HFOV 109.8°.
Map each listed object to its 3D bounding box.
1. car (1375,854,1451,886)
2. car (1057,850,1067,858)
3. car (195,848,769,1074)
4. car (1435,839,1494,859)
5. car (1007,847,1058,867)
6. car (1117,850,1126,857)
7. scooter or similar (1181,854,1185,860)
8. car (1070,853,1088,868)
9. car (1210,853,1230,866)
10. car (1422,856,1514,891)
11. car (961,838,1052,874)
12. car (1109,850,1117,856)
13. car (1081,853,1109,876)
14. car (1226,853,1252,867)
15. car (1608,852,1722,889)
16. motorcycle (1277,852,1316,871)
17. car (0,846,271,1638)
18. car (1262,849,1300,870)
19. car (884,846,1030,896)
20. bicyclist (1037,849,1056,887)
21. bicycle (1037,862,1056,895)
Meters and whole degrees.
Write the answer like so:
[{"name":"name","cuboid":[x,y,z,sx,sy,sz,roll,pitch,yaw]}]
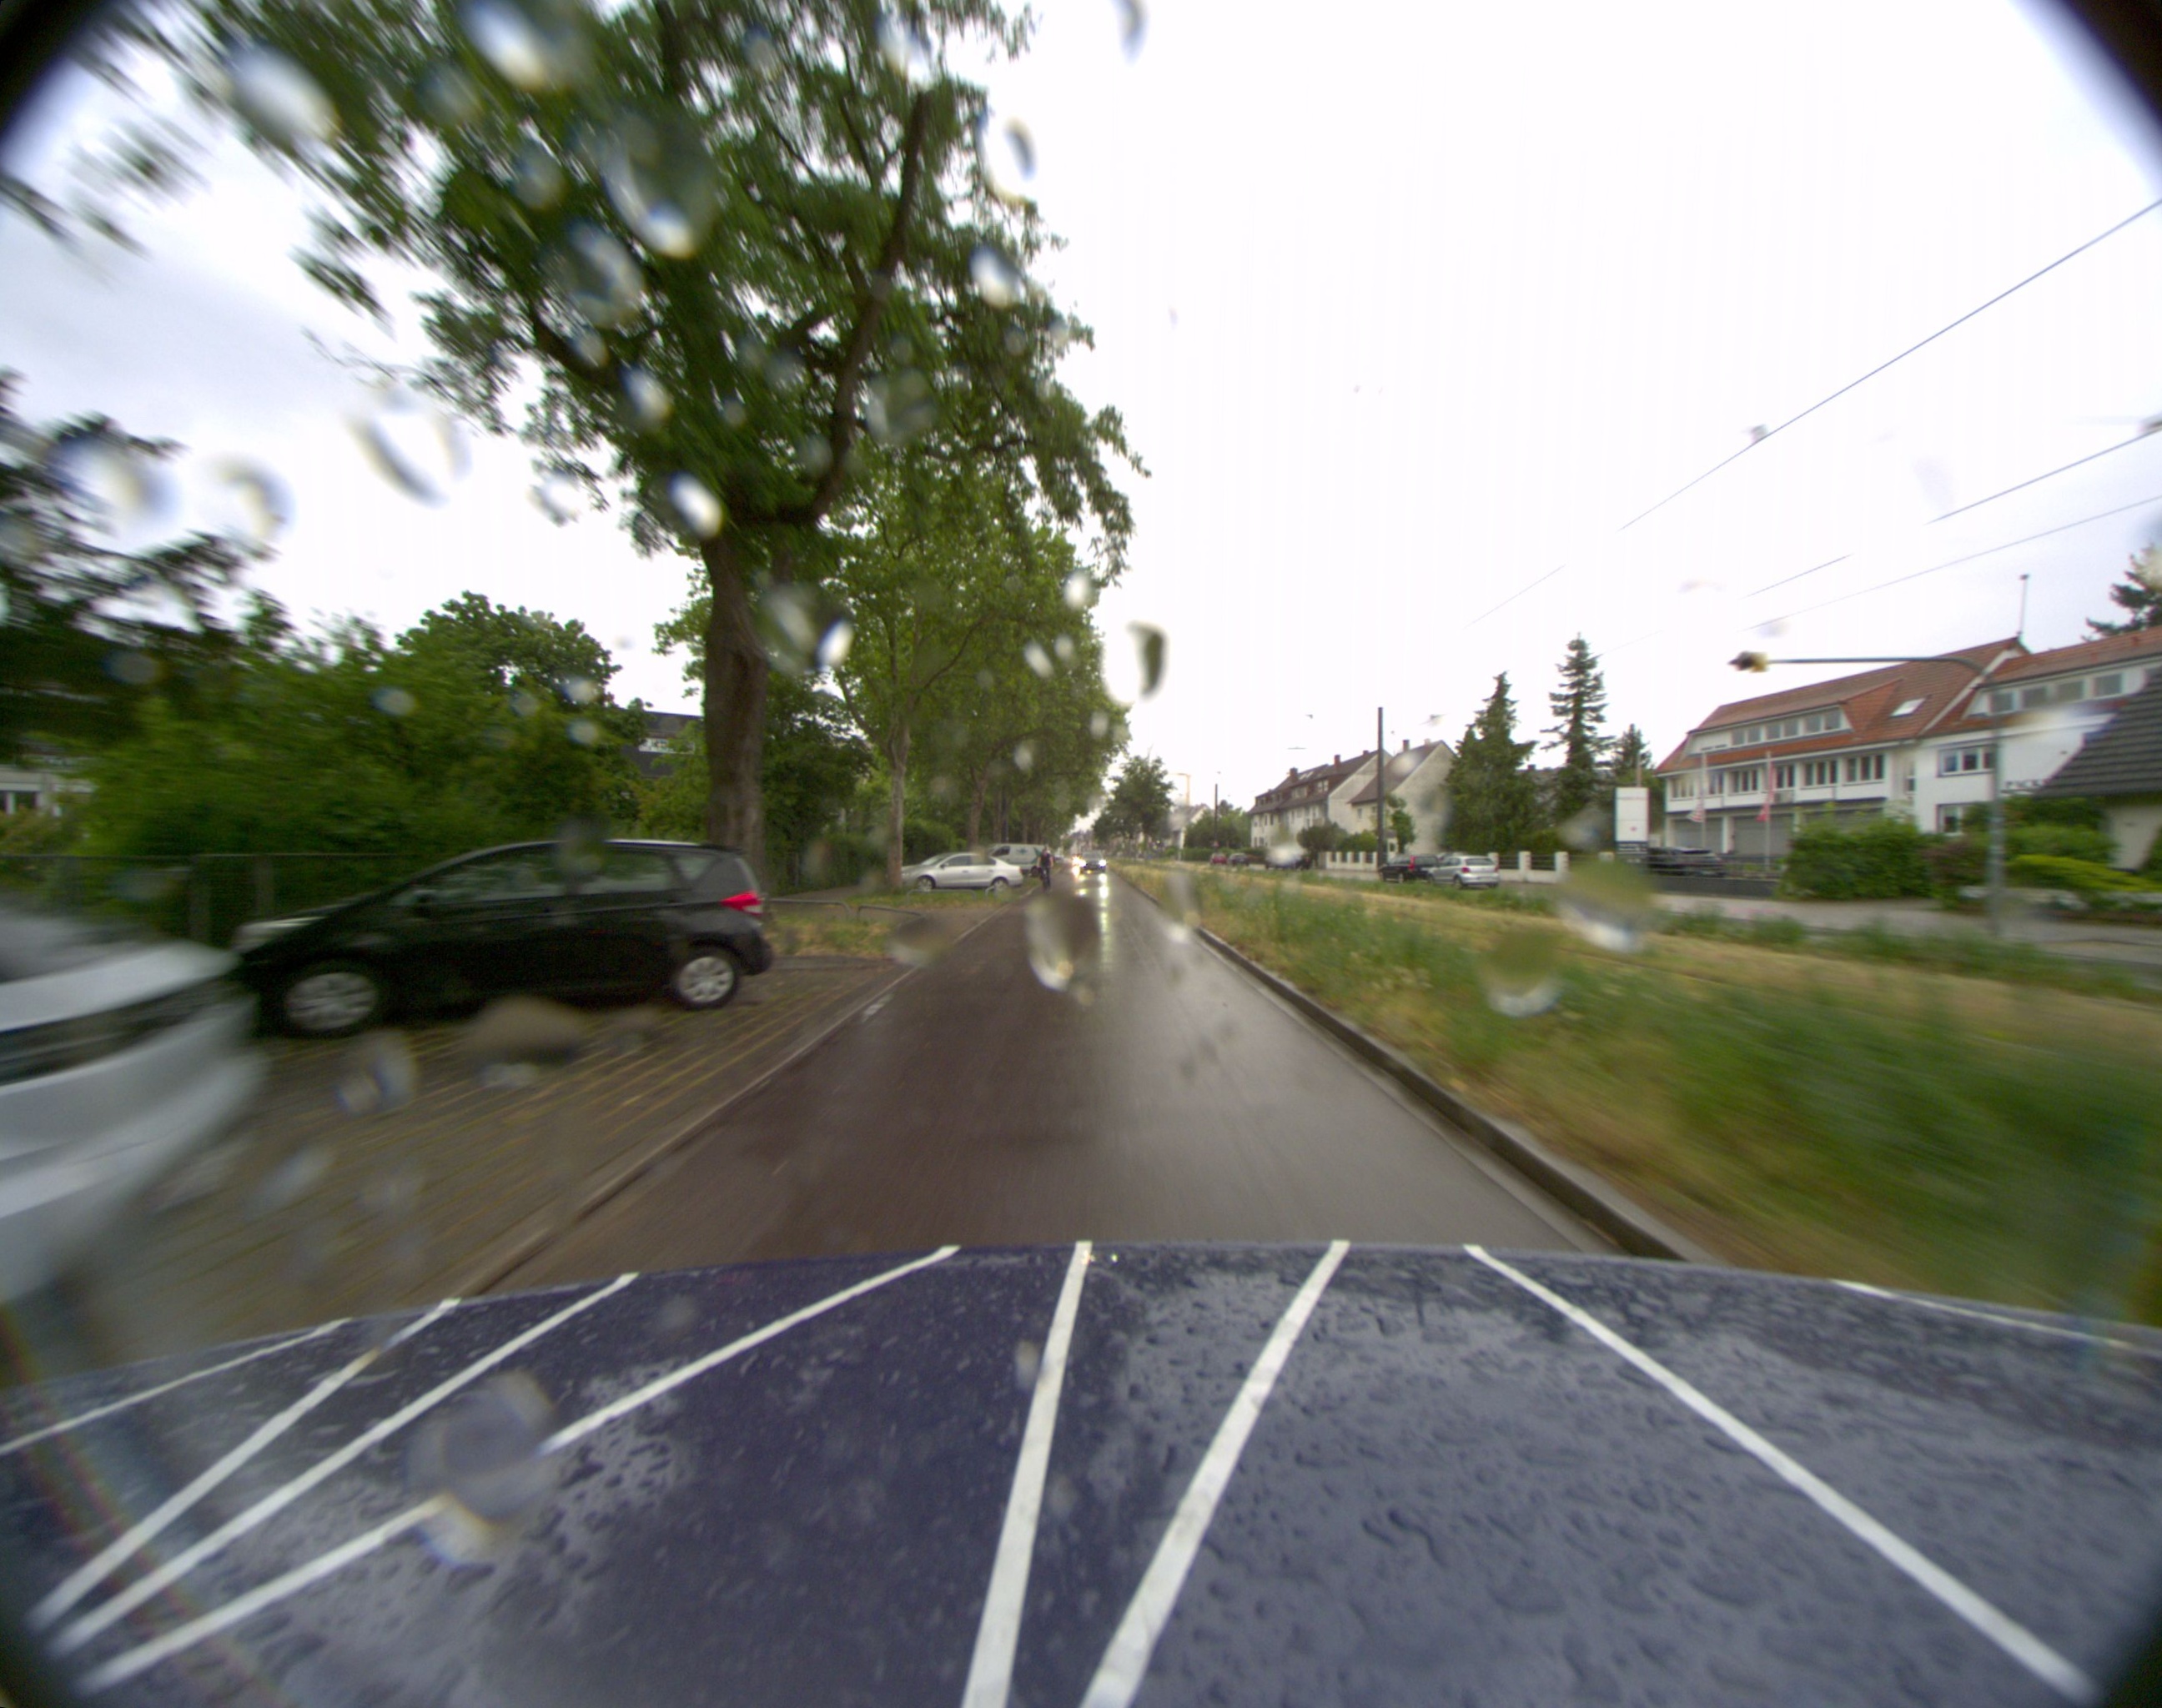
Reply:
[{"name":"car","cuboid":[16.756,0.757,38.639,1.998,1.447,4.531,-2,0,2]},{"name":"car","cuboid":[-3.559,0.023,141.034,1.781,1.477,3.999,2,0,-1]},{"name":"car","cuboid":[-4.978,0.760,6.929,3.721,1.557,1.615,1,1,-32]},{"name":"car","cuboid":[31.329,-0.402,62.128,3.968,1.531,1.704,-2,0,0]},{"name":"car","cuboid":[-4.086,0.233,64.667,4.056,1.631,1.649,0,1,-38]},{"name":"car","cuboid":[11.403,-0.060,212.708,2.000,2.002,3.997,1,0,-6]},{"name":"scooter or similar","cuboid":[17.987,0.513,133.663,0.347,0.905,1.258,1,0,-6]},{"name":"car","cuboid":[-0.229,0.684,81.430,1.781,1.477,3.999,2,0,-1]},{"name":"car","cuboid":[17.058,0.641,93.410,1.802,1.448,4.000,-2,0,2]},{"name":"car","cuboid":[16.882,0.817,33.398,1.998,1.402,3.971,-2,0,0]},{"name":"car","cuboid":[-4.404,0.145,45.286,5.040,2.002,1.995,2,0,-34]},{"name":"car","cuboid":[9.839,-0.323,234.065,2.000,2.002,3.997,1,0,-7]},{"name":"car","cuboid":[0.938,0.745,54.084,1.781,1.477,3.999,2,0,-1]},{"name":"car","cuboid":[17.003,0.678,82.022,1.998,1.402,4.762,-2,0,2]},{"name":"car","cuboid":[24.262,0.645,31.757,1.703,1.402,3.971,-2,0,0]},{"name":"motorcycle","cuboid":[17.071,0.586,60.115,2.680,1.403,1.269,0,2,42]},{"name":"car","cuboid":[-4.797,0.810,1.004,4.784,1.658,1.989,0,1,-36]},{"name":"car","cuboid":[17.092,0.432,65.195,1.999,1.665,4.386,0,1,-2]},{"name":"car","cuboid":[-4.267,0.614,26.351,4.569,1.535,1.883,3,-1,-31]},{"name":"bicyclist","cuboid":[-1.319,0.524,29.356,0.675,1.421,0.753,2,1,-3]},{"name":"bicycle","cuboid":[-1.330,0.920,29.396,0.675,1.136,2.444,2,0,-3]}]
